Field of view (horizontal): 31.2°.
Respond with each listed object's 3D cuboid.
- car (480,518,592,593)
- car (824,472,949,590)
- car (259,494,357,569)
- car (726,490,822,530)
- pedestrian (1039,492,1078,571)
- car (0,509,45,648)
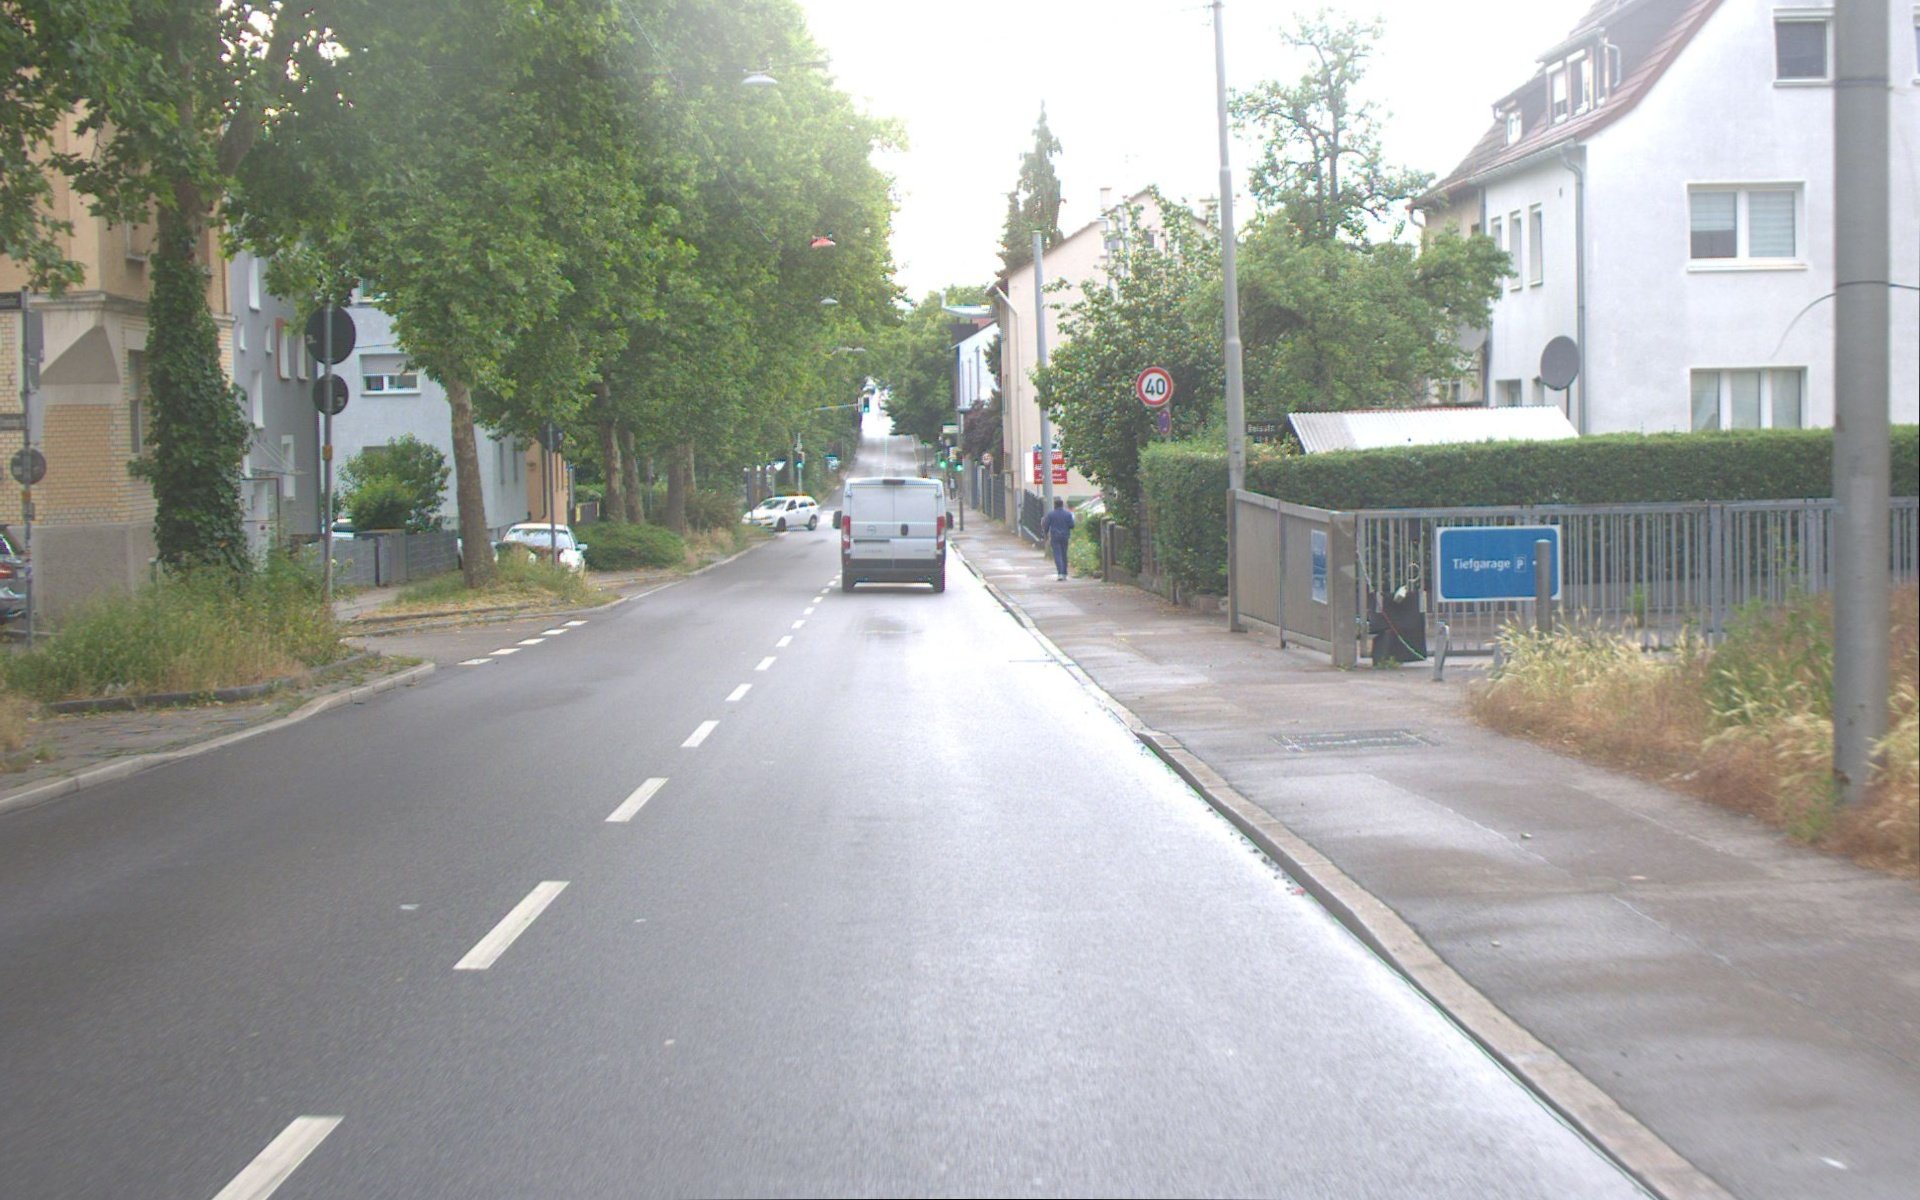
[{"bbox_3d":[-8.592,-0.930,69.984,1.993,1.447,4.211,-1,1,-4],"label":"car"},{"bbox_3d":[-1.498,-1.410,68.526,2.346,2.152,4.778,-1,3,-2],"label":"car"},{"bbox_3d":[-17.361,-1.856,91.699,1.875,1.888,4.001,-1,3,-1],"label":"car"},{"bbox_3d":[-7.990,-3.869,148.109,1.997,1.703,4.252,0,1,34],"label":"car"},{"bbox_3d":[2.131,-1.484,74.400,0.815,1.692,0.729,0,1,-1],"label":"pedestrian"},{"bbox_3d":[-15.024,-0.283,47.523,4.196,1.885,2.000,-1,1,-1],"label":"car"}]
